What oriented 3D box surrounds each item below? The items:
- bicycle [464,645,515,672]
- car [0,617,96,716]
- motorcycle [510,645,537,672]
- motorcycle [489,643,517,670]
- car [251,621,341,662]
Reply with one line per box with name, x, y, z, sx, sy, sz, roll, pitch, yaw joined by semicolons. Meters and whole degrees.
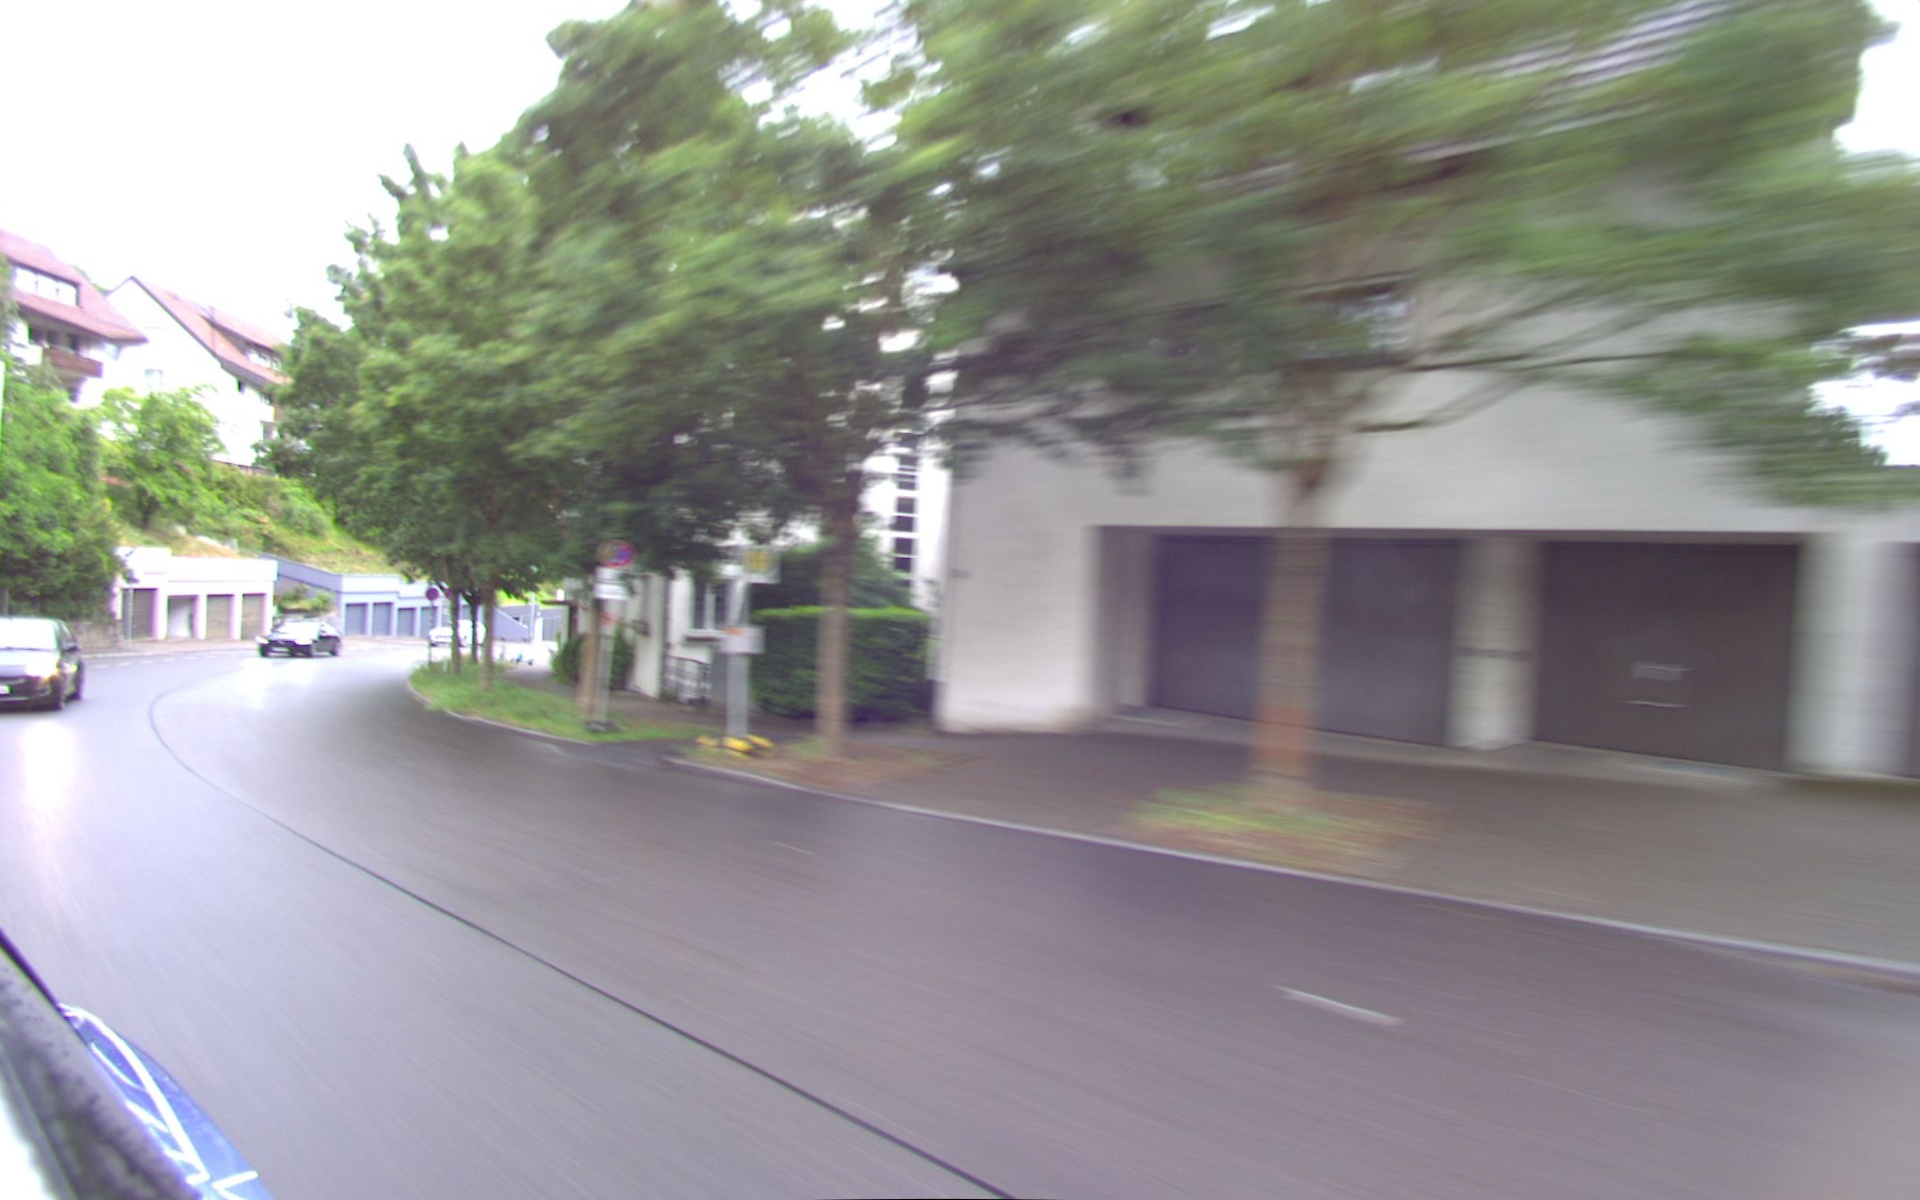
bicycle;-20.343;2.545;43.793;1.935;1.068;0.756;4;-3;-24
car;-15.687;1.031;16.690;1.671;1.475;4.010;4;-3;-34
motorcycle;-20.320;2.711;47.124;0.547;1.237;1.303;2;-3;4
motorcycle;-21.065;2.589;46.659;0.551;1.213;1.397;2;-3;4
car;-26.503;1.675;40.565;1.966;1.522;4.223;2;-3;-19
